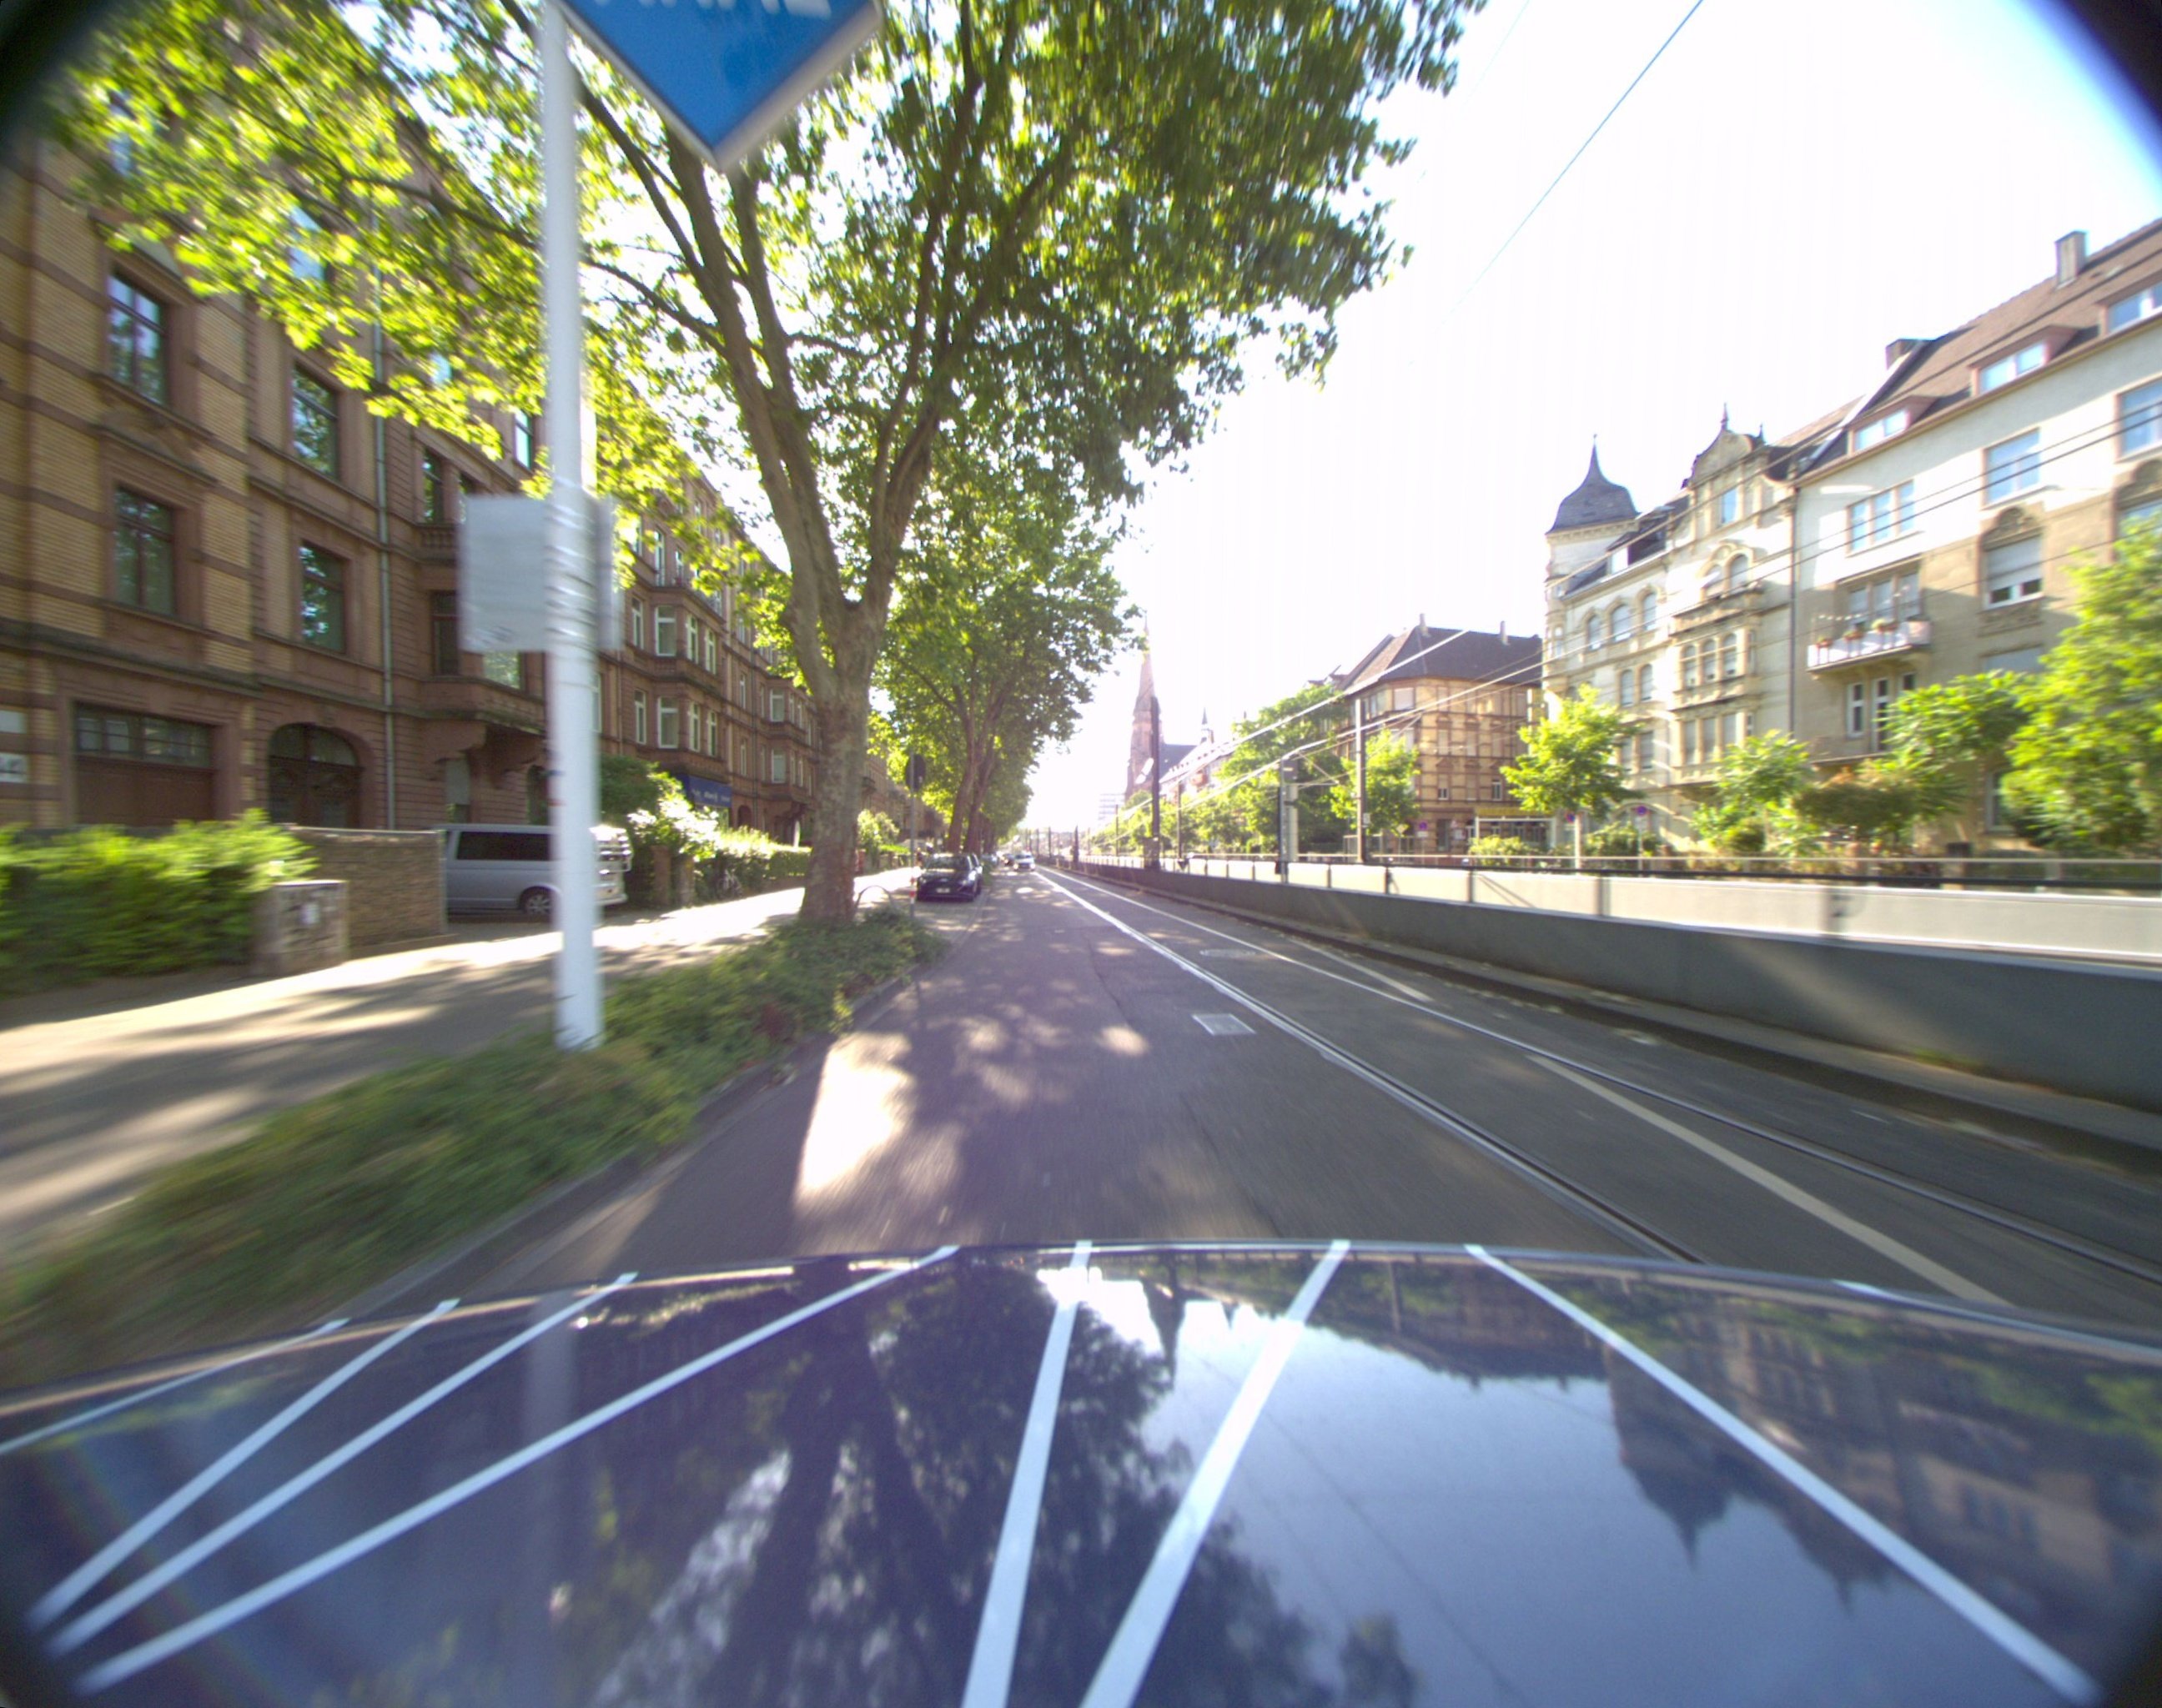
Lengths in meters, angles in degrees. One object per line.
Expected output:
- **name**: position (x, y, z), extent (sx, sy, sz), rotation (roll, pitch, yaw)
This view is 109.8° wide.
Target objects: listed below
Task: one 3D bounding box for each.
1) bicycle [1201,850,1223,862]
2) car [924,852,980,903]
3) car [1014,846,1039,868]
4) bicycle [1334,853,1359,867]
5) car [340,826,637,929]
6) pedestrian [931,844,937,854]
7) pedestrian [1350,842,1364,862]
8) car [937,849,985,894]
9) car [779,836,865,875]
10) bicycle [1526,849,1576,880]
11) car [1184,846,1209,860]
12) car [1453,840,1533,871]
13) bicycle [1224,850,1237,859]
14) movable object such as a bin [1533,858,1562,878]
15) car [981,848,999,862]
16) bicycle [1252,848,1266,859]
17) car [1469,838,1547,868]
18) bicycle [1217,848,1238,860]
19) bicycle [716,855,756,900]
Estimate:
- **bicycle**: position (14.426, 0.220, 83.590), extent (2.791, 1.092, 0.641), rotation (-4, 1, -38)
- **car**: position (-4.121, 0.704, 24.795), extent (1.556, 1.490, 4.047), rotation (0, 1, -6)
- **car**: position (-4.443, 0.216, 62.148), extent (1.823, 1.729, 3.999), rotation (1, 1, -1)
- **bicycle**: position (20.625, 0.432, 59.102), extent (0.456, 1.000, 1.938), rotation (-4, 5, -37)
- **car**: position (-12.248, 0.465, 16.007), extent (4.586, 2.002, 1.913), rotation (1, 1, -6)
- **pedestrian**: position (-19.318, -0.659, 99.617), extent (0.715, 1.292, 0.662), rotation (-1, 1, -6)
- **pedestrian**: position (22.851, -0.175, 62.900), extent (0.721, 1.679, 0.864), rotation (-3, 1, 0)
- **car**: position (-4.514, 0.606, 29.031), extent (1.621, 1.578, 4.414), rotation (0, 1, -6)
- **car**: position (-14.514, 0.081, 42.802), extent (4.189, 2.002, 1.998), rotation (2, 1, -7)
- **bicycle**: position (19.905, 0.435, 32.191), extent (1.735, 1.272, 0.599), rotation (-1, 1, 0)
- **car**: position (13.896, -0.152, 91.423), extent (1.838, 1.576, 3.997), rotation (-3, 1, -8)
- **car**: position (24.682, 0.078, 45.531), extent (4.002, 1.615, 1.823), rotation (-2, 1, -15)
- **bicycle**: position (15.449, 0.069, 78.582), extent (1.271, 0.900, 0.538), rotation (-4, 1, -36)
- **movable object such as a bin**: position (23.068, 0.665, 37.554), extent (0.899, 0.914, 0.783), rotation (-3, 1, -11)
- **car**: position (-10.320, 0.100, 86.217), extent (1.737, 1.528, 4.802), rotation (-1, 1, -4)
- **bicycle**: position (18.536, -0.089, 79.102), extent (0.557, 1.092, 2.374), rotation (-3, 1, -6)
- **car**: position (28.996, -0.054, 51.762), extent (2.001, 1.838, 4.473), rotation (-4, 1, -17)
- **bicycle**: position (15.289, 0.034, 79.183), extent (2.379, 1.092, 0.556), rotation (-4, 1, -36)
- **bicycle**: position (-10.243, 0.669, 22.589), extent (0.338, 1.243, 1.766), rotation (-3, 1, -2)
